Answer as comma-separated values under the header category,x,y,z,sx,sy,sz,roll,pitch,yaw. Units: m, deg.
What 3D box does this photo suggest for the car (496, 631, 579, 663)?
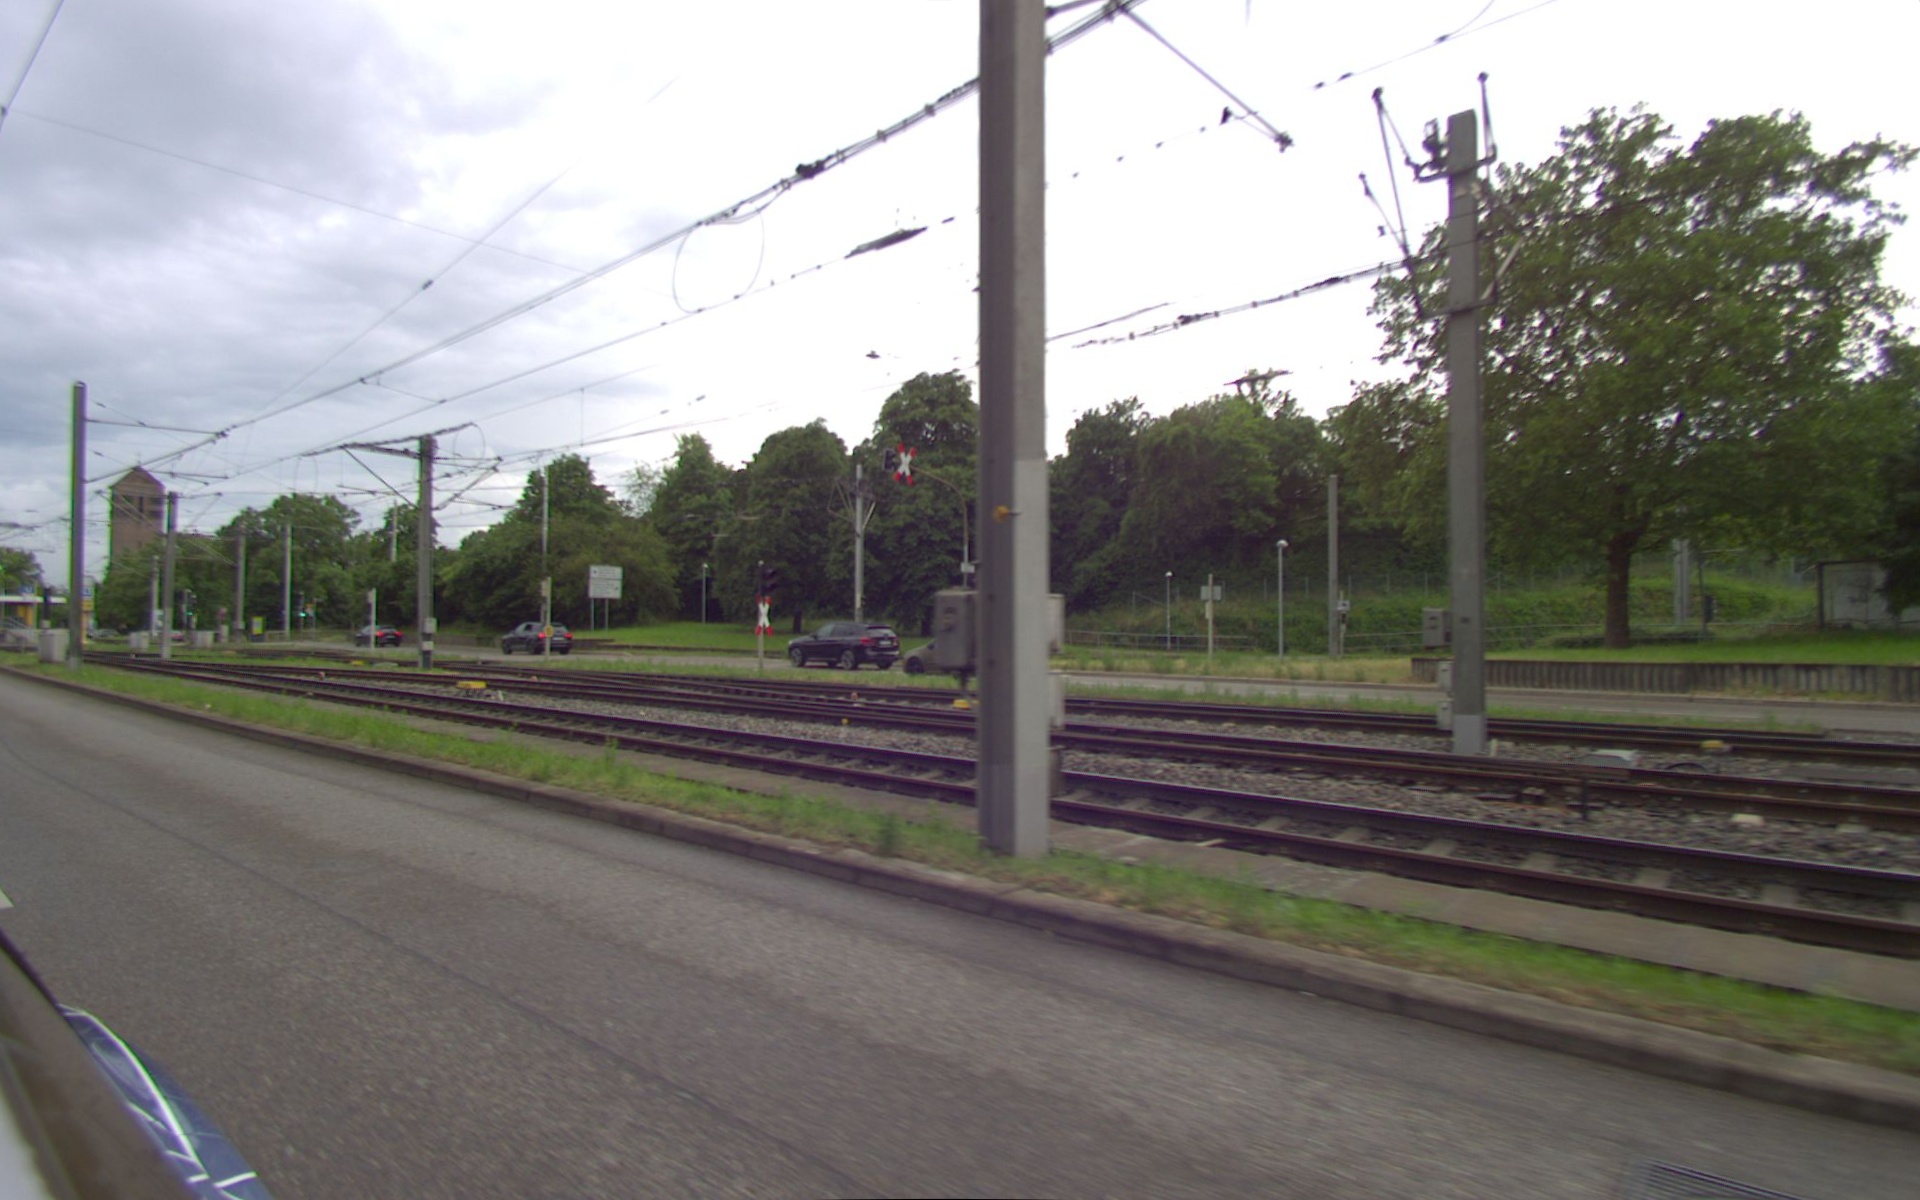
category,x,y,z,sx,sy,sz,roll,pitch,yaw
car,-22.063,2.402,52.776,5.158,1.601,2.066,-2,-3,43

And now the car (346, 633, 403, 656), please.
category,x,y,z,sx,sy,sz,roll,pitch,yaw
car,-39.006,2.936,67.374,4.680,1.458,1.907,-2,-3,41

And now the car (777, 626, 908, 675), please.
category,x,y,z,sx,sy,sz,roll,pitch,yaw
car,-4.192,1.739,35.571,4.847,1.607,1.926,-2,-3,43

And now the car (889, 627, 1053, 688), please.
category,x,y,z,sx,sy,sz,roll,pitch,yaw
car,0.230,1.491,27.137,4.309,1.498,1.870,-2,-3,44

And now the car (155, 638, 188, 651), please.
category,x,y,z,sx,sy,sz,roll,pitch,yaw
car,-82.190,4.625,105.471,4.471,1.271,1.907,-2,-3,41

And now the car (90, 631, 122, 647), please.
category,x,y,z,sx,sy,sz,roll,pitch,yaw
car,-96.371,4.390,114.187,4.859,1.752,2.062,-2,-3,41
